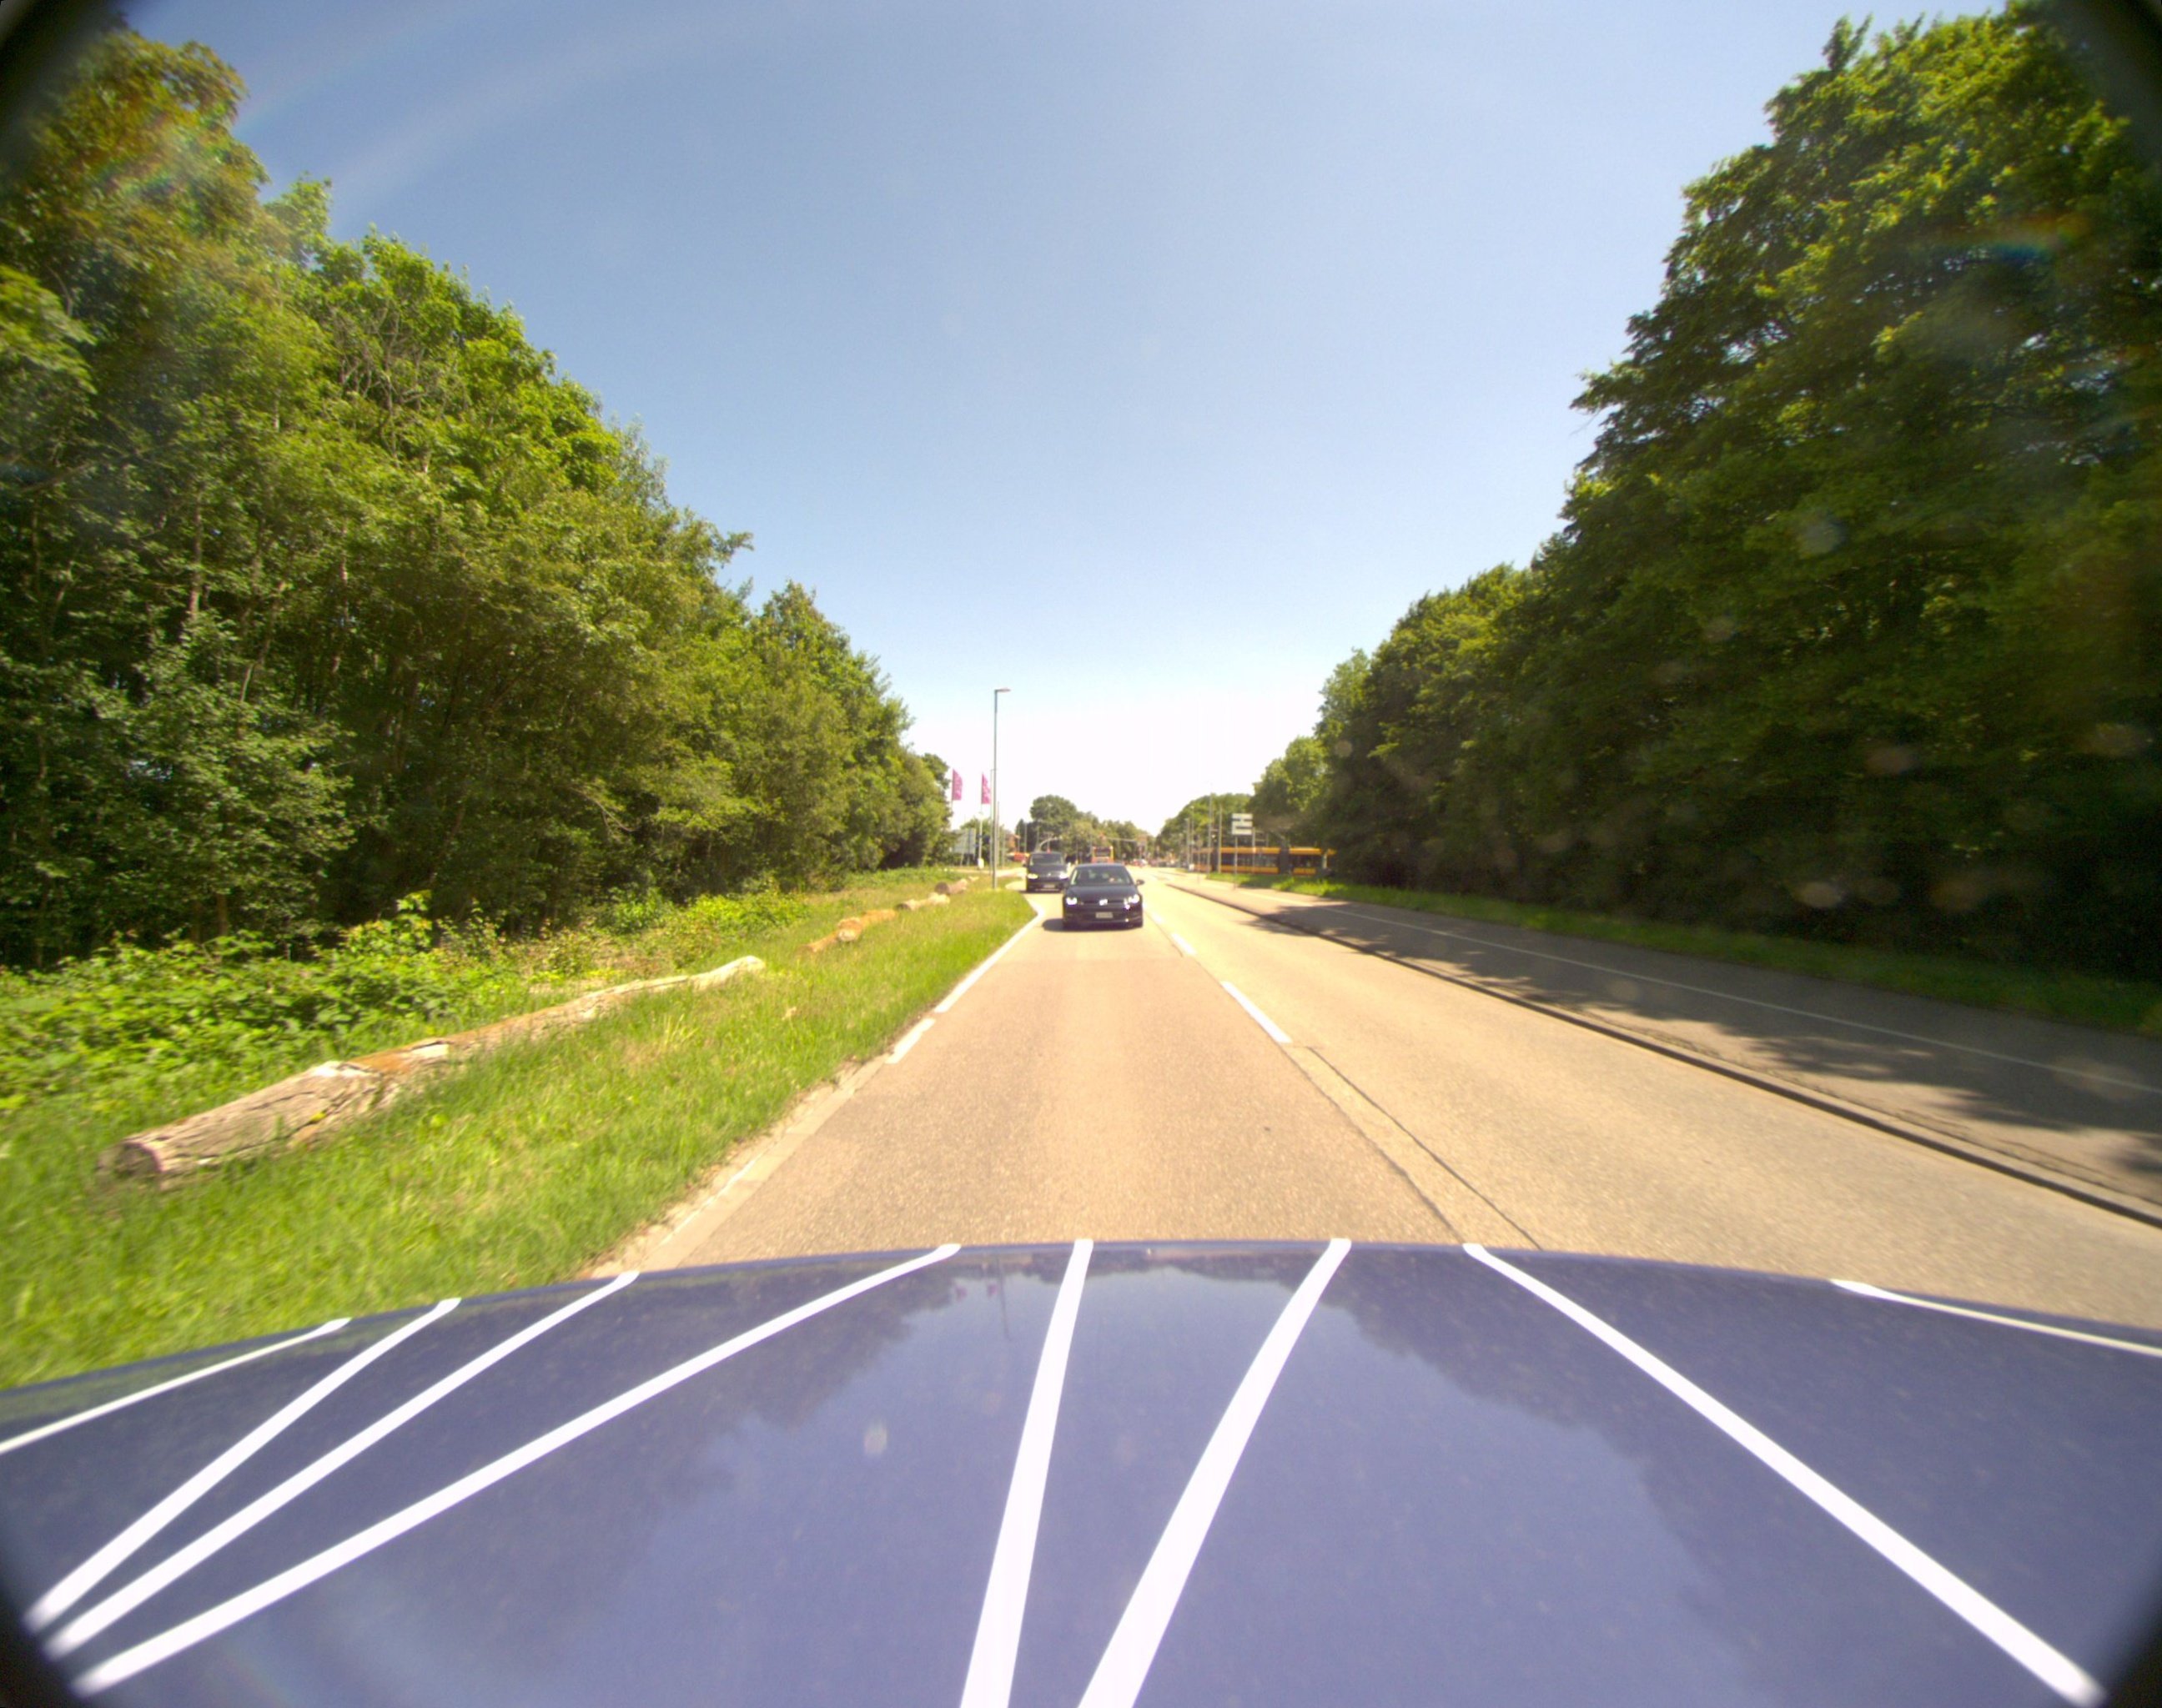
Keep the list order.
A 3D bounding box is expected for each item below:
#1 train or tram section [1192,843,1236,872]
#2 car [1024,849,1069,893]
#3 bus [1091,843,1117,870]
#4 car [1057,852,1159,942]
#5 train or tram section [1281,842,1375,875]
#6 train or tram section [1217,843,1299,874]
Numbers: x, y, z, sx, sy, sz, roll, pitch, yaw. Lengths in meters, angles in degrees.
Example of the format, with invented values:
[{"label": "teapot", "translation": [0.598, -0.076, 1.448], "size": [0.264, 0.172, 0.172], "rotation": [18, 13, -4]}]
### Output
[{"label": "train or tram section", "translation": [17.298, 0.442, 99.677], "size": [2.579, 3.445, 10.847], "rotation": [1, 0, -7]}, {"label": "car", "translation": [-1.622, 0.756, 36.001], "size": [2.002, 1.965, 4.449], "rotation": [0, 0, -2]}, {"label": "bus", "translation": [2.915, 0.342, 98.168], "size": [2.931, 3.248, 8.329], "rotation": [0, 0, -1]}, {"label": "car", "translation": [0.459, 0.844, 17.189], "size": [1.887, 1.667, 4.661], "rotation": [-3, 0, -2]}, {"label": "train or tram section", "translation": [26.987, 0.489, 83.278], "size": [9.325, 3.446, 2.789], "rotation": [0, 0, 33]}, {"label": "train or tram section", "translation": [20.726, 0.432, 89.895], "size": [2.656, 3.446, 10.827], "rotation": [0, 0, -31]}]
